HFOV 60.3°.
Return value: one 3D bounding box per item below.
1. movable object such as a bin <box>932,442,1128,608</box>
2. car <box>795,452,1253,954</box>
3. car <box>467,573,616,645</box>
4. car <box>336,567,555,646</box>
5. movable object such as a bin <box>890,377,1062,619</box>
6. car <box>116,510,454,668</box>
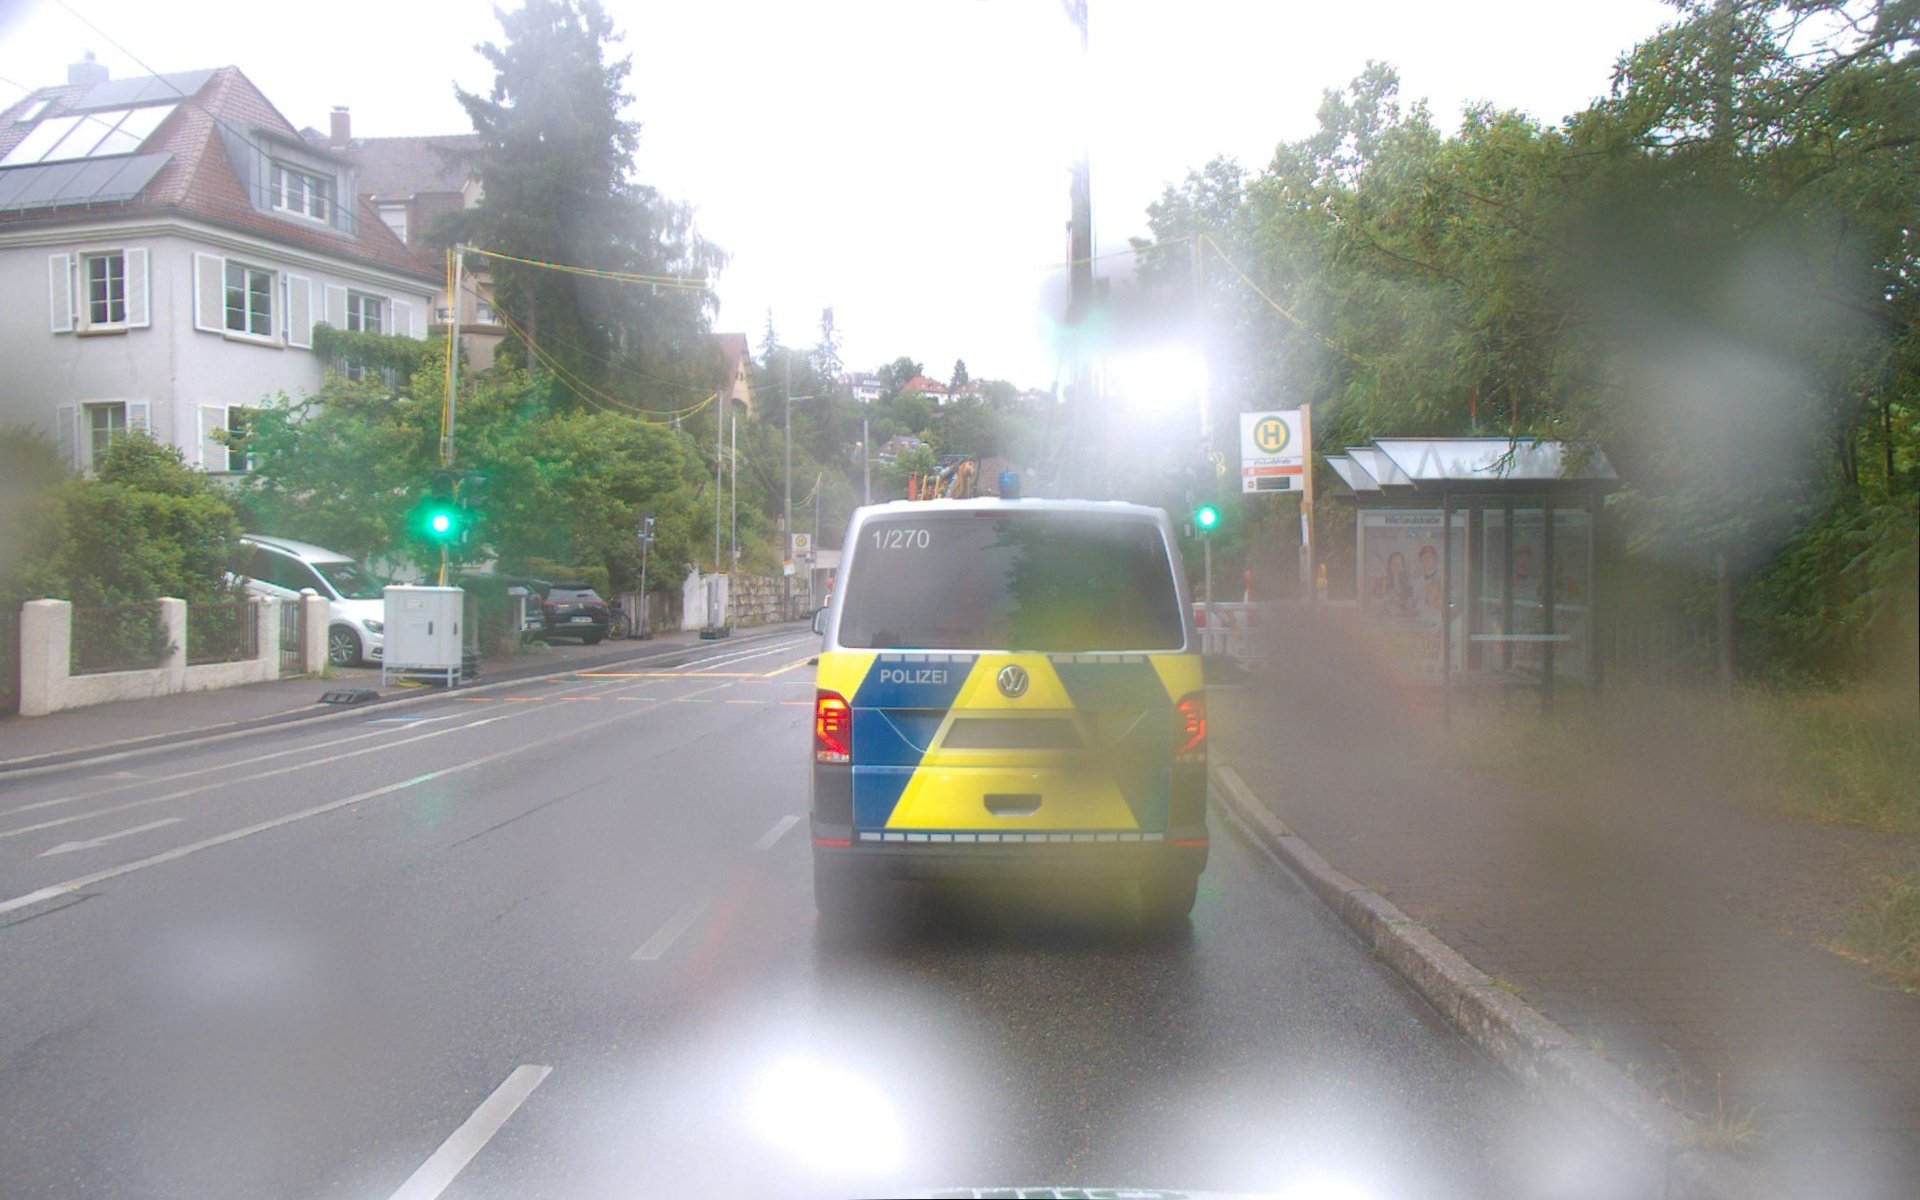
[{"bbox_3d":[2.485,-2.356,55.886,3.615,5.155,7.147,-1,-1,31],"label":"movable object such as a bin"},{"bbox_3d":[0.237,0.439,9.063,1.869,2.046,4.438,1,0,-1],"label":"car"},{"bbox_3d":[-9.531,0.182,37.512,1.769,1.552,3.943,1,0,-39],"label":"car"},{"bbox_3d":[-10.718,0.129,34.581,3.902,1.552,1.942,1,0,12],"label":"car"},{"bbox_3d":[0.421,-1.854,31.697,2.817,4.243,4.491,-1,1,6],"label":"movable object such as a bin"},{"bbox_3d":[-11.142,-0.218,27.383,4.865,1.642,1.865,11,4,13],"label":"car"}]
